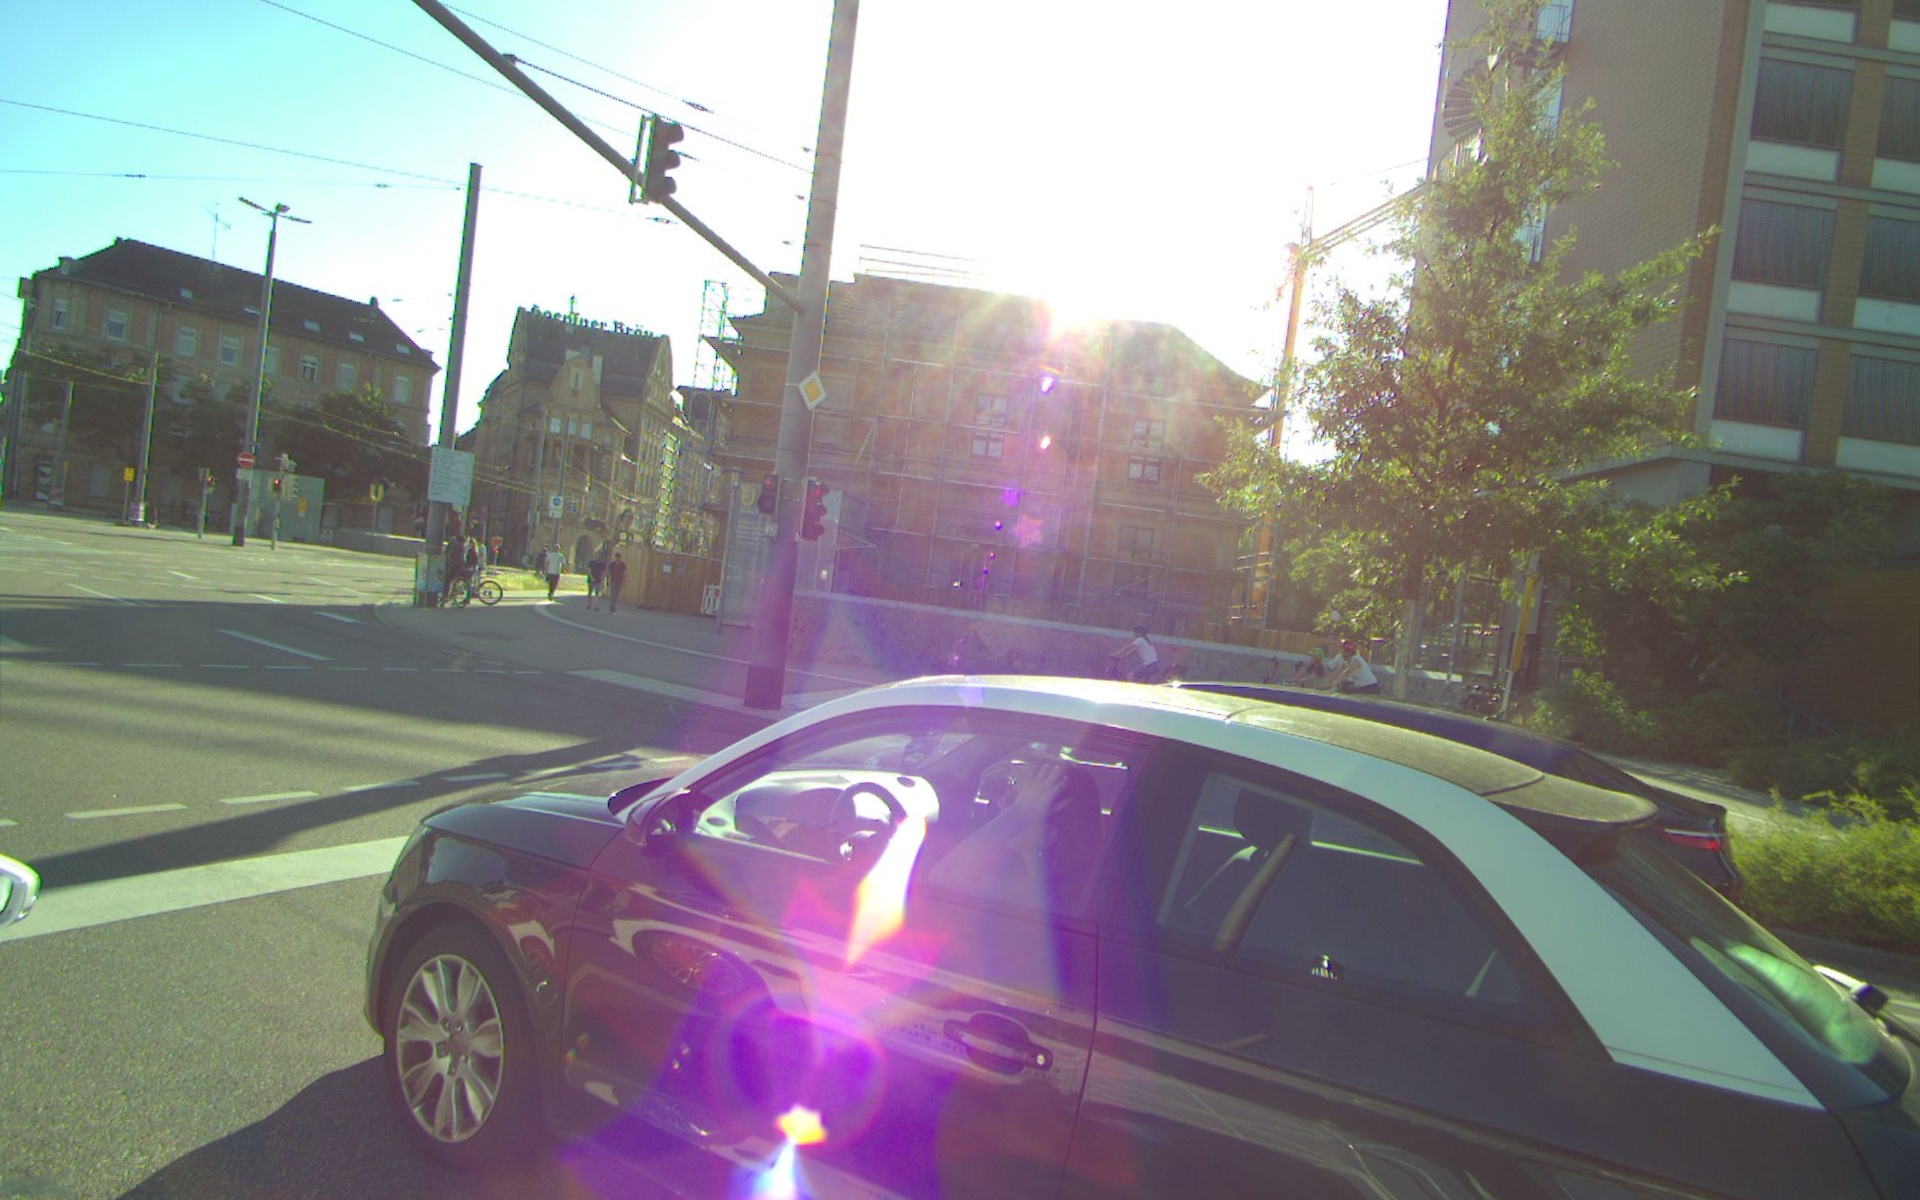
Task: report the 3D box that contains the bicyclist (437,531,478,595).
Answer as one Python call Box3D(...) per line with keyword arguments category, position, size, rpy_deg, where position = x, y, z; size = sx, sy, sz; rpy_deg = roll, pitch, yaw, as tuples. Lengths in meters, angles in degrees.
Box3D(category="bicyclist", position=(-12.460, -0.912, 24.929), size=(0.702, 1.456, 0.940), rpy_deg=(8, -1, -29))

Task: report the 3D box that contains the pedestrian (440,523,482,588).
Box3D(category="pedestrian", position=(-16.709, -1.474, 33.675), size=(0.748, 2.037, 0.733), rpy_deg=(7, -1, 25))

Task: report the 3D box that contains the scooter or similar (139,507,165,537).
Box3D(category="scooter or similar", position=(-42.367, -4.093, 52.732), size=(0.784, 1.392, 1.885), rpy_deg=(8, -2, -44))

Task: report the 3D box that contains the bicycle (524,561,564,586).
Box3D(category="bicycle", position=(-19.722, -1.225, 47.740), size=(0.892, 0.925, 2.625), rpy_deg=(7, -2, -5))

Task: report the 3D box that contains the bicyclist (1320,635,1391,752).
Box3D(category="bicyclist", position=(5.779, 1.339, 14.701), size=(0.780, 1.573, 0.667), rpy_deg=(7, 2, 22))

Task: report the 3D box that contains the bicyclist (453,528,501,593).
Box3D(category="bicyclist", position=(-12.829, -1.035, 26.720), size=(0.936, 1.575, 0.705), rpy_deg=(8, -1, -28))

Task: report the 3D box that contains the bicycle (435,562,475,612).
Box3D(category="bicycle", position=(-12.514, -0.339, 24.894), size=(0.693, 1.062, 2.303), rpy_deg=(7, 0, -29))

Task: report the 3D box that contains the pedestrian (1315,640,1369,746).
Box3D(category="pedestrian", position=(6.355, 1.525, 16.733), size=(0.592, 1.662, 0.677), rpy_deg=(7, 3, 29))

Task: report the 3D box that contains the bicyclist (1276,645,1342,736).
Box3D(category="bicyclist", position=(5.537, 1.428, 15.997), size=(0.661, 1.330, 0.617), rpy_deg=(7, -1, -3))

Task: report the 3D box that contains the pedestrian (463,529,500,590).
Box3D(category="pedestrian", position=(-16.311, -1.383, 34.290), size=(0.678, 1.945, 0.649), rpy_deg=(7, -1, 25))

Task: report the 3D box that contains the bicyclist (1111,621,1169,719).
Box3D(category="bicyclist", position=(2.905, 1.126, 16.208), size=(0.661, 1.471, 0.618), rpy_deg=(7, -1, 21))

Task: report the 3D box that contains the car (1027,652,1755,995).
Box3D(category="car", position=(2.937, 1.406, 7.563), size=(4.435, 1.420, 1.727), rpy_deg=(6, -2, 30))

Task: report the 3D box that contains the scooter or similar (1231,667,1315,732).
Box3D(category="scooter or similar", position=(5.796, 1.827, 18.626), size=(1.348, 1.007, 0.342), rpy_deg=(7, -1, 25))

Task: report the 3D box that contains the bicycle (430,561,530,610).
Box3D(category="bicycle", position=(-12.767, -0.375, 26.793), size=(2.293, 1.062, 0.696), rpy_deg=(6, -1, -28))

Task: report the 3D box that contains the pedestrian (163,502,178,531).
Box3D(category="pedestrian", position=(-56.922, -6.010, 72.535), size=(0.600, 2.039, 0.638), rpy_deg=(6, 1, -43))

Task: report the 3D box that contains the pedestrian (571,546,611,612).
Box3D(category="pedestrian", position=(-10.744, -0.592, 29.323), size=(0.672, 1.830, 0.672), rpy_deg=(7, 2, 11))

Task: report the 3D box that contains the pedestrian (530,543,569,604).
Box3D(category="pedestrian", position=(-13.134, -0.845, 32.197), size=(0.678, 1.835, 0.649), rpy_deg=(7, -1, 25))

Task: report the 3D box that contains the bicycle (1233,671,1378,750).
Box3D(category="bicycle", position=(5.479, 1.748, 16.025), size=(1.997, 0.976, 0.660), rpy_deg=(6, 2, -1))

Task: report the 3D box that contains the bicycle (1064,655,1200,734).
Box3D(category="bicycle", position=(2.765, 1.500, 16.216), size=(1.997, 0.976, 0.659), rpy_deg=(6, 2, 21))

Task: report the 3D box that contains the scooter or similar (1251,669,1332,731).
Box3D(category="scooter or similar", position=(6.356, 1.910, 19.313), size=(1.346, 1.007, 0.343), rpy_deg=(7, -1, 13))

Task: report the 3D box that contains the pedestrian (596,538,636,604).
Box3D(category="pedestrian", position=(-10.190, -0.843, 29.790), size=(0.672, 1.828, 0.672), rpy_deg=(7, -1, 11))

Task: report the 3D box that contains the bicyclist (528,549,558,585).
Box3D(category="bicyclist", position=(-19.664, -1.548, 47.504), size=(0.835, 1.565, 1.042), rpy_deg=(7, -1, -4))

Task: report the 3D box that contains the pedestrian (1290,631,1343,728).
Box3D(category="pedestrian", position=(7.391, 1.637, 20.864), size=(0.461, 1.908, 0.687), rpy_deg=(8, -1, -41))

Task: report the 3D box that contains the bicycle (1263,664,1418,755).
Box3D(category="bicycle", position=(5.568, 1.582, 14.767), size=(1.998, 0.976, 0.659), rpy_deg=(7, 3, 23))

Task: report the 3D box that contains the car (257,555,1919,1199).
Box3D(category="car", position=(0.066, 0.831, 2.664), size=(3.934, 1.420, 1.627), rpy_deg=(6, -2, 32))

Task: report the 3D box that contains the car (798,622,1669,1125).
Box3D(category="car", position=(1.242, 1.094, 5.378), size=(3.934, 1.420, 1.627), rpy_deg=(6, -2, 32))
